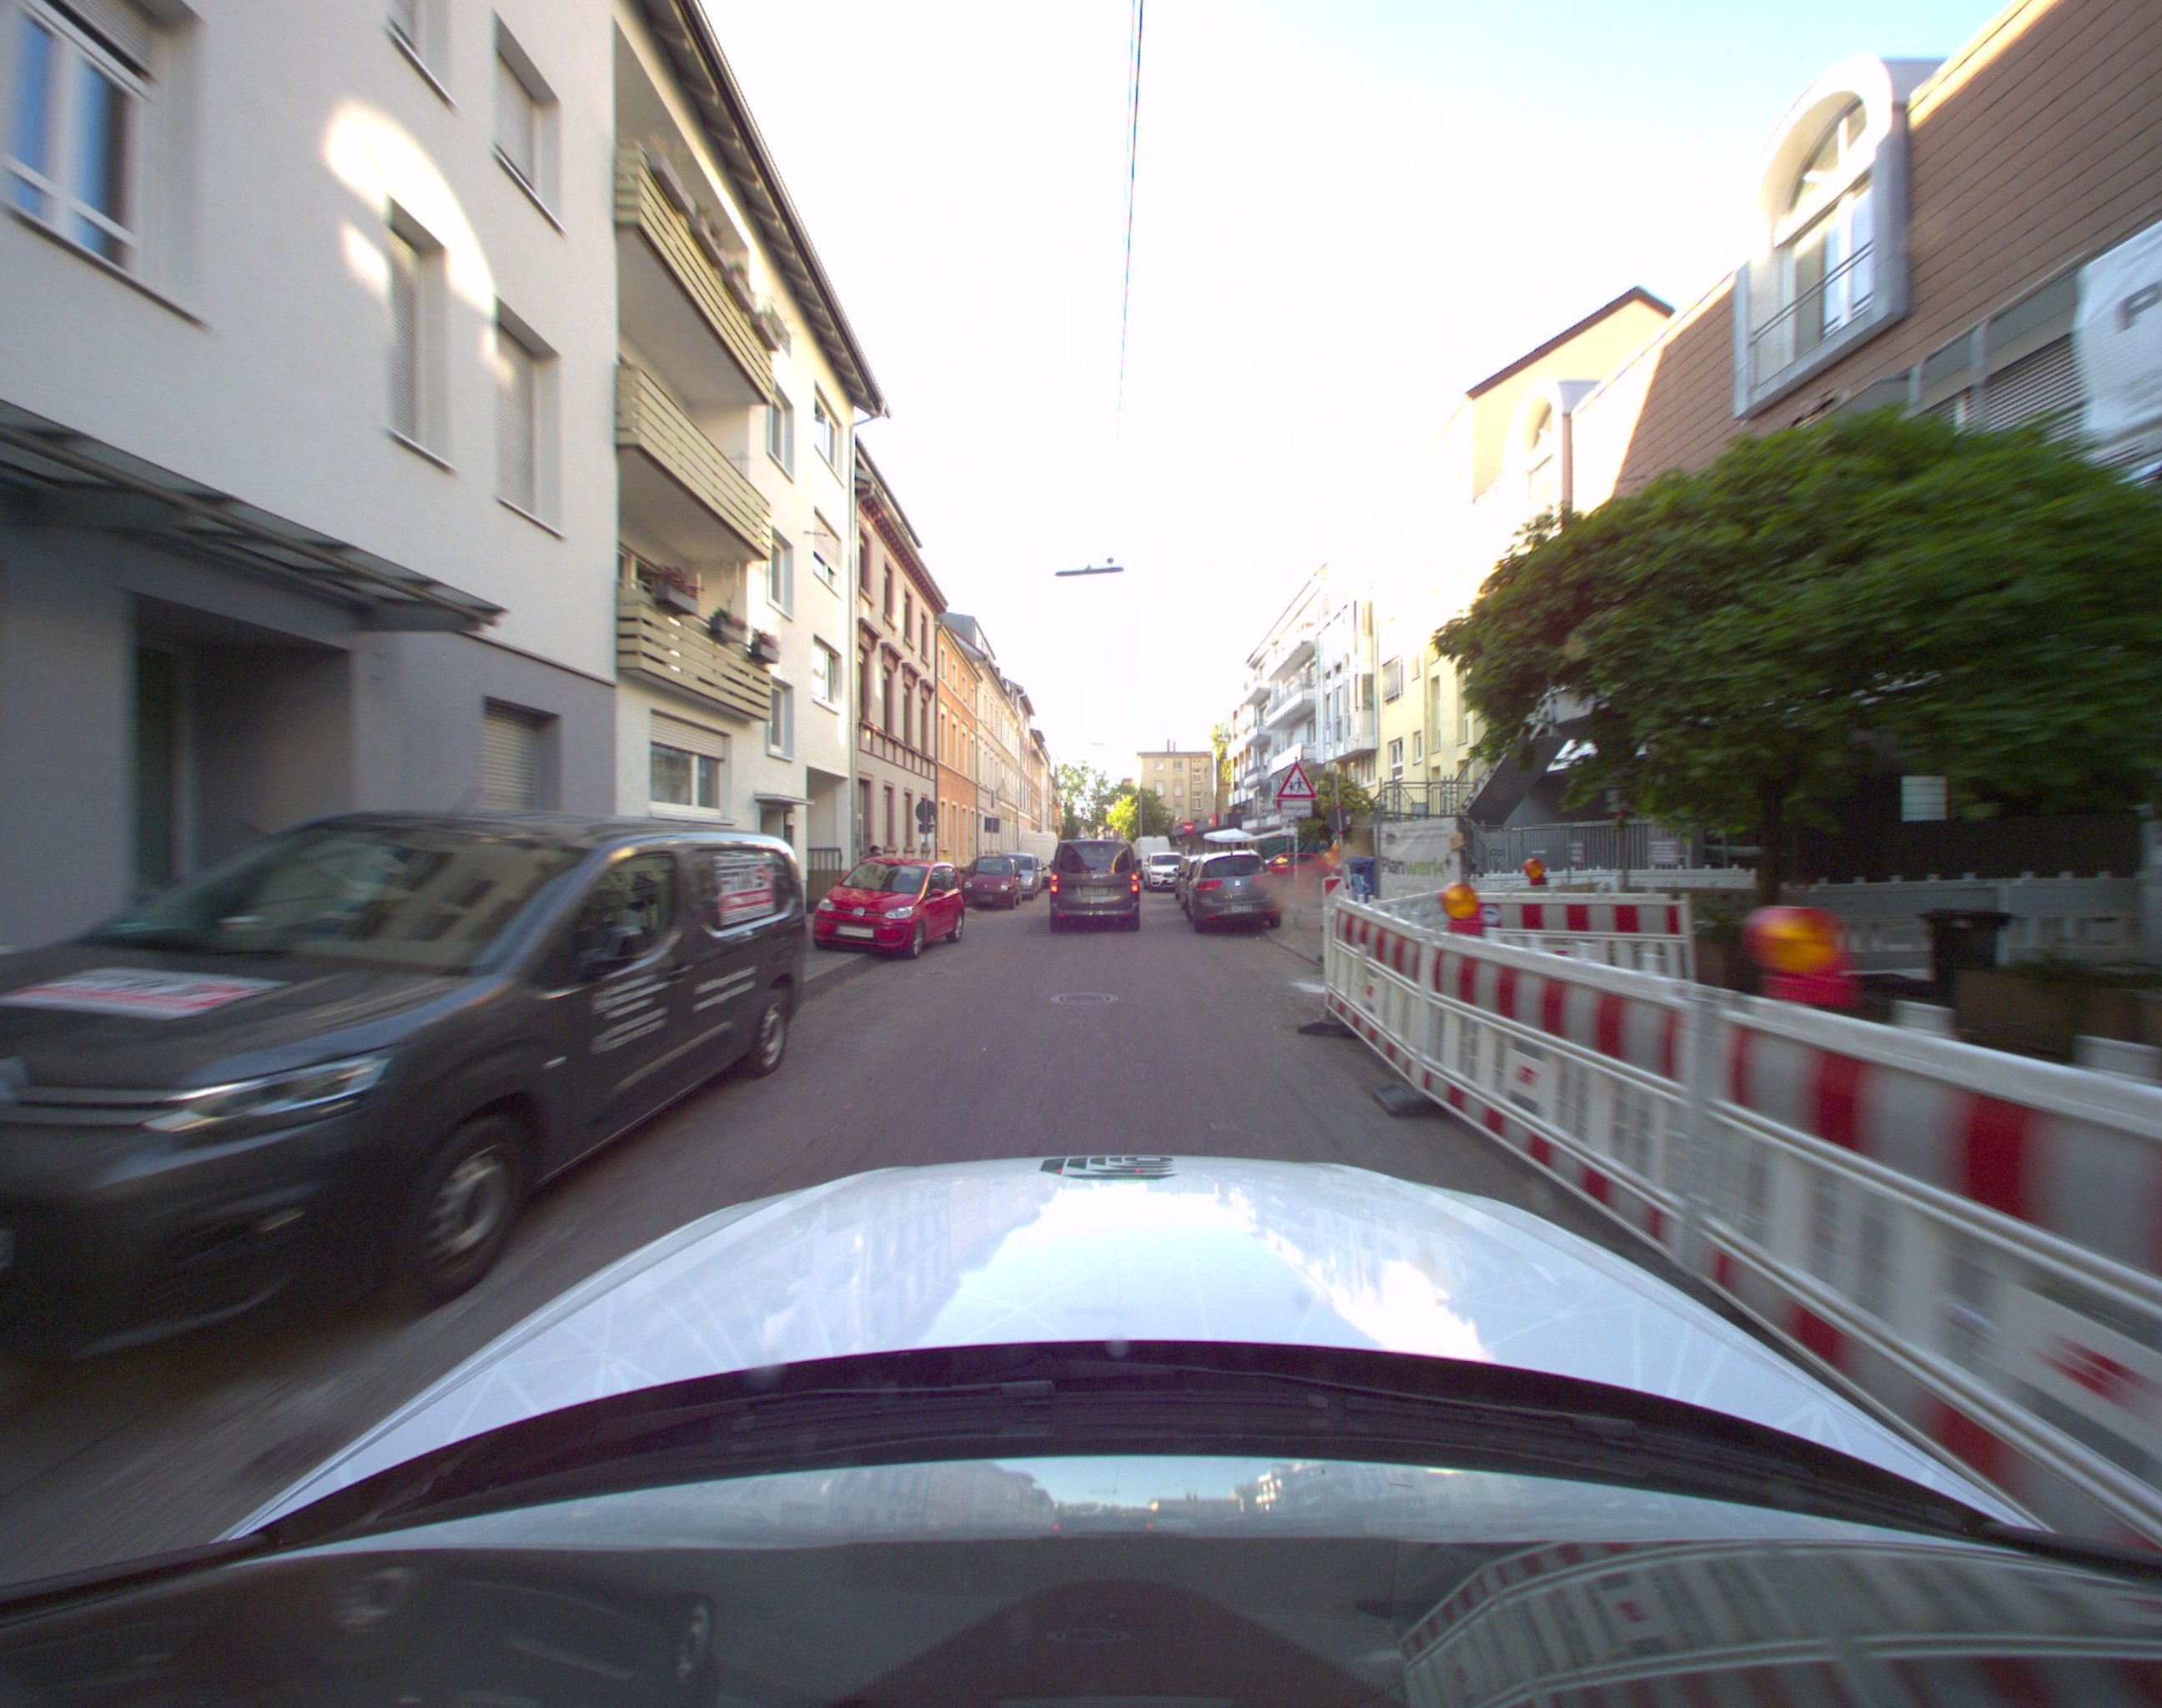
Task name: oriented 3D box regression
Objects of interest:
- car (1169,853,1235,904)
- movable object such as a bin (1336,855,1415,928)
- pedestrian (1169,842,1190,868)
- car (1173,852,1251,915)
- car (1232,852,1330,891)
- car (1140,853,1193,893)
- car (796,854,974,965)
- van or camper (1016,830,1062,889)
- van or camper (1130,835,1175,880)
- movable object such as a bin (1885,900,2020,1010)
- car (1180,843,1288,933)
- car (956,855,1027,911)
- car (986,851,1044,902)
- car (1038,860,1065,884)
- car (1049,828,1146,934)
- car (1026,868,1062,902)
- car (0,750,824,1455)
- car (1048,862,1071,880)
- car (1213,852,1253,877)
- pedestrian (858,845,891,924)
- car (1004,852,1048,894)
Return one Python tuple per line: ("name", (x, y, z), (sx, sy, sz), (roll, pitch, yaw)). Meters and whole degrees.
("car", (3.903, 0.732, 26.809), (1.614, 1.486, 4.126), (-2, 0, 1))
("movable object such as a bin", (5.822, 0.728, 16.101), (1.256, 1.376, 0.795), (1, 0, -24))
("pedestrian", (6.062, 0.066, 50.094), (0.874, 1.555, 0.869), (-3, 0, -21))
("car", (3.468, 0.740, 22.165), (1.616, 1.557, 3.695), (0, 0, 1))
("car", (8.726, 0.742, 35.751), (3.883, 1.607, 1.694), (1, 0, 0))
("car", (3.601, 0.761, 34.983), (1.717, 1.612, 4.586), (0, 0, -1))
("car", (-3.119, 0.814, 13.737), (1.660, 1.485, 3.612), (5, 0, 6))
("van or camper", (-1.993, 0.260, 40.802), (1.943, 2.649, 7.138), (-1, 0, -1))
("van or camper", (4.384, 0.203, 50.978), (2.093, 2.602, 7.510), (-1, 0, 0))
("movable object such as a bin", (8.439, 0.959, 7.911), (0.555, 0.976, 0.712), (1, 0, -3))
("car", (3.184, 0.644, 17.740), (1.741, 1.683, 4.529), (1, 0, 3))
("car", (-2.572, 0.808, 24.145), (1.652, 1.448, 3.285), (3, 0, 0))
("car", (-2.325, 0.767, 29.421), (1.706, 1.644, 3.979), (2, 0, 0))
("car", (-2.020, 1.156, 54.607), (1.707, 1.497, 3.851), (0, 0, -3))
("car", (0.350, 0.525, 18.074), (1.851, 2.013, 4.000), (-2, 0, 0))
("car", (-2.098, 1.741, 47.033), (1.857, 1.751, 4.292), (0, 0, 0))
("car", (-3.122, 0.650, 4.435), (1.987, 1.858, 4.584), (0, 0, 0))
("car", (-1.794, 1.396, 67.041), (1.783, 1.397, 4.464), (1, 0, -2))
("car", (8.989, 0.623, 48.076), (1.585, 1.416, 3.247), (-1, 0, 24))
("pedestrian", (-4.416, 0.637, 17.426), (0.493, 1.638, 0.666), (1, 0, 1))
("car", (-2.308, 0.773, 34.900), (1.585, 1.686, 3.653), (0, 0, 0))
